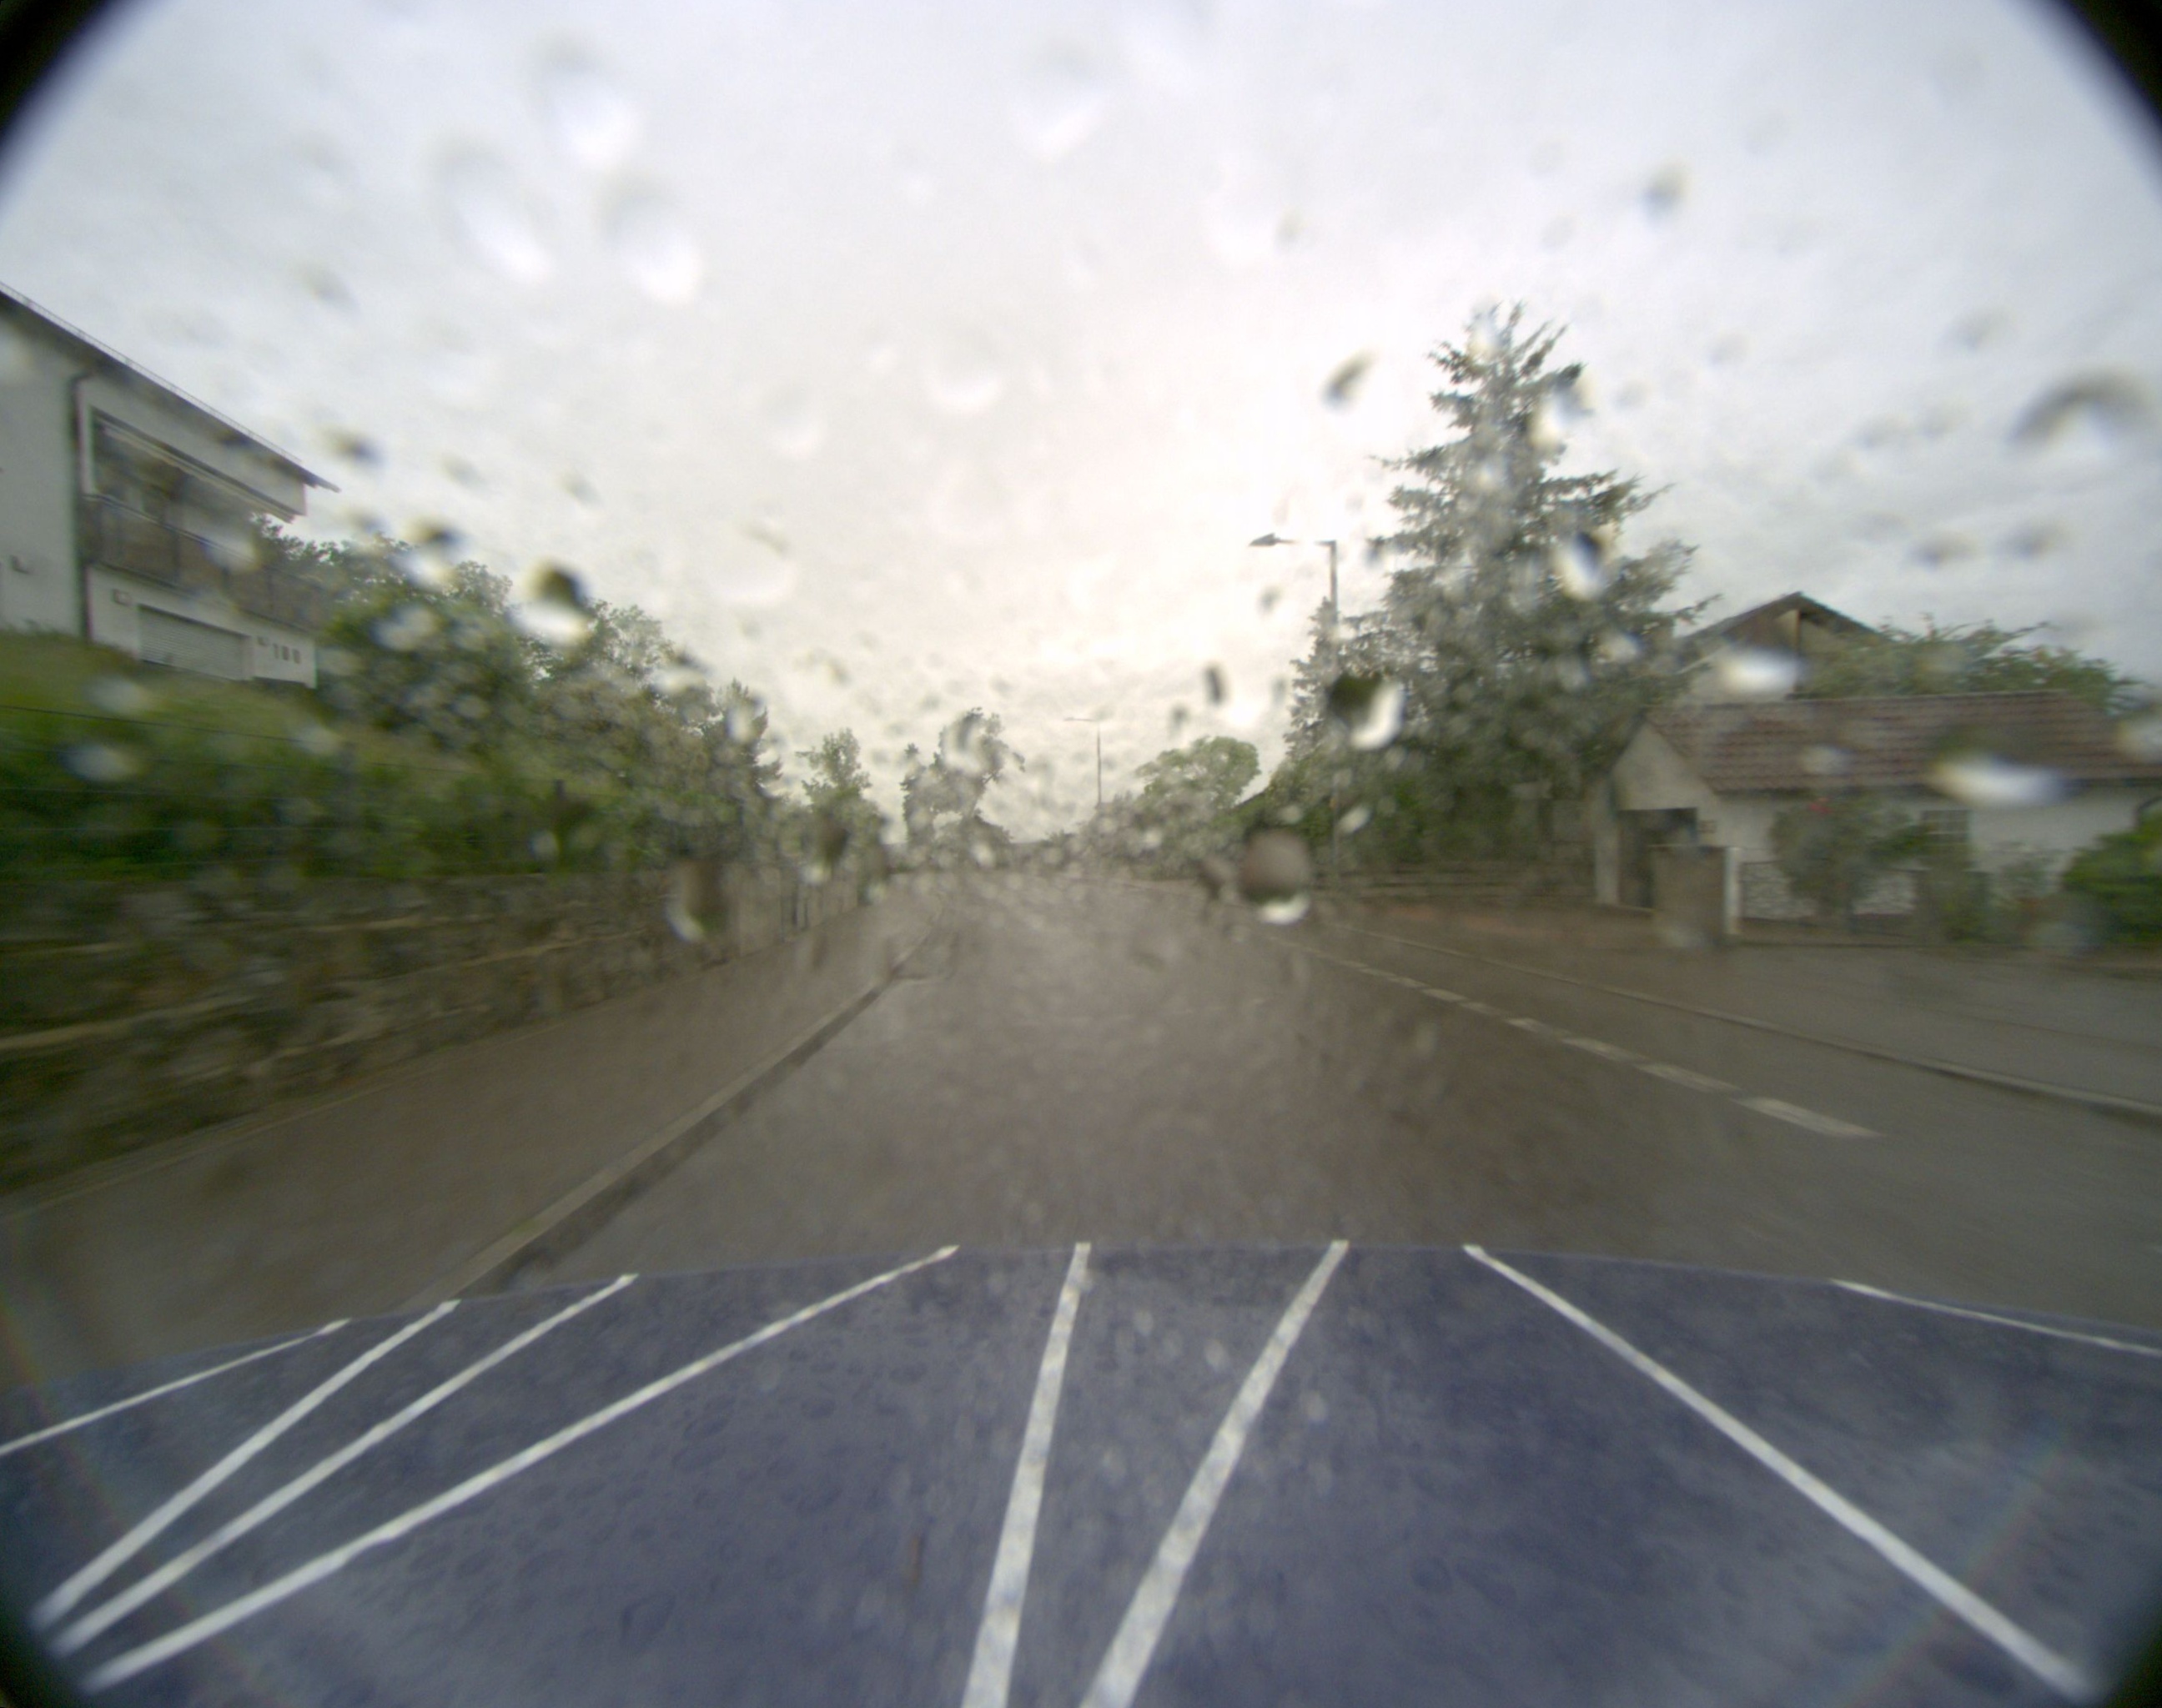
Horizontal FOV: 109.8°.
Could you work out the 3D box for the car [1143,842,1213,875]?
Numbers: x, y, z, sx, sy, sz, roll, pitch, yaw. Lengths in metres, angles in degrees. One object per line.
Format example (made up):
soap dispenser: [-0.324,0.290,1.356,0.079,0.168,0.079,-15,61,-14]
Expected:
car: [4.577,0.195,35.877,3.034,1.472,1.456,-2,1,16]

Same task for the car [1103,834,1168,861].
car: [3.294,-0.368,45.487,3.738,1.472,1.455,-2,1,7]
